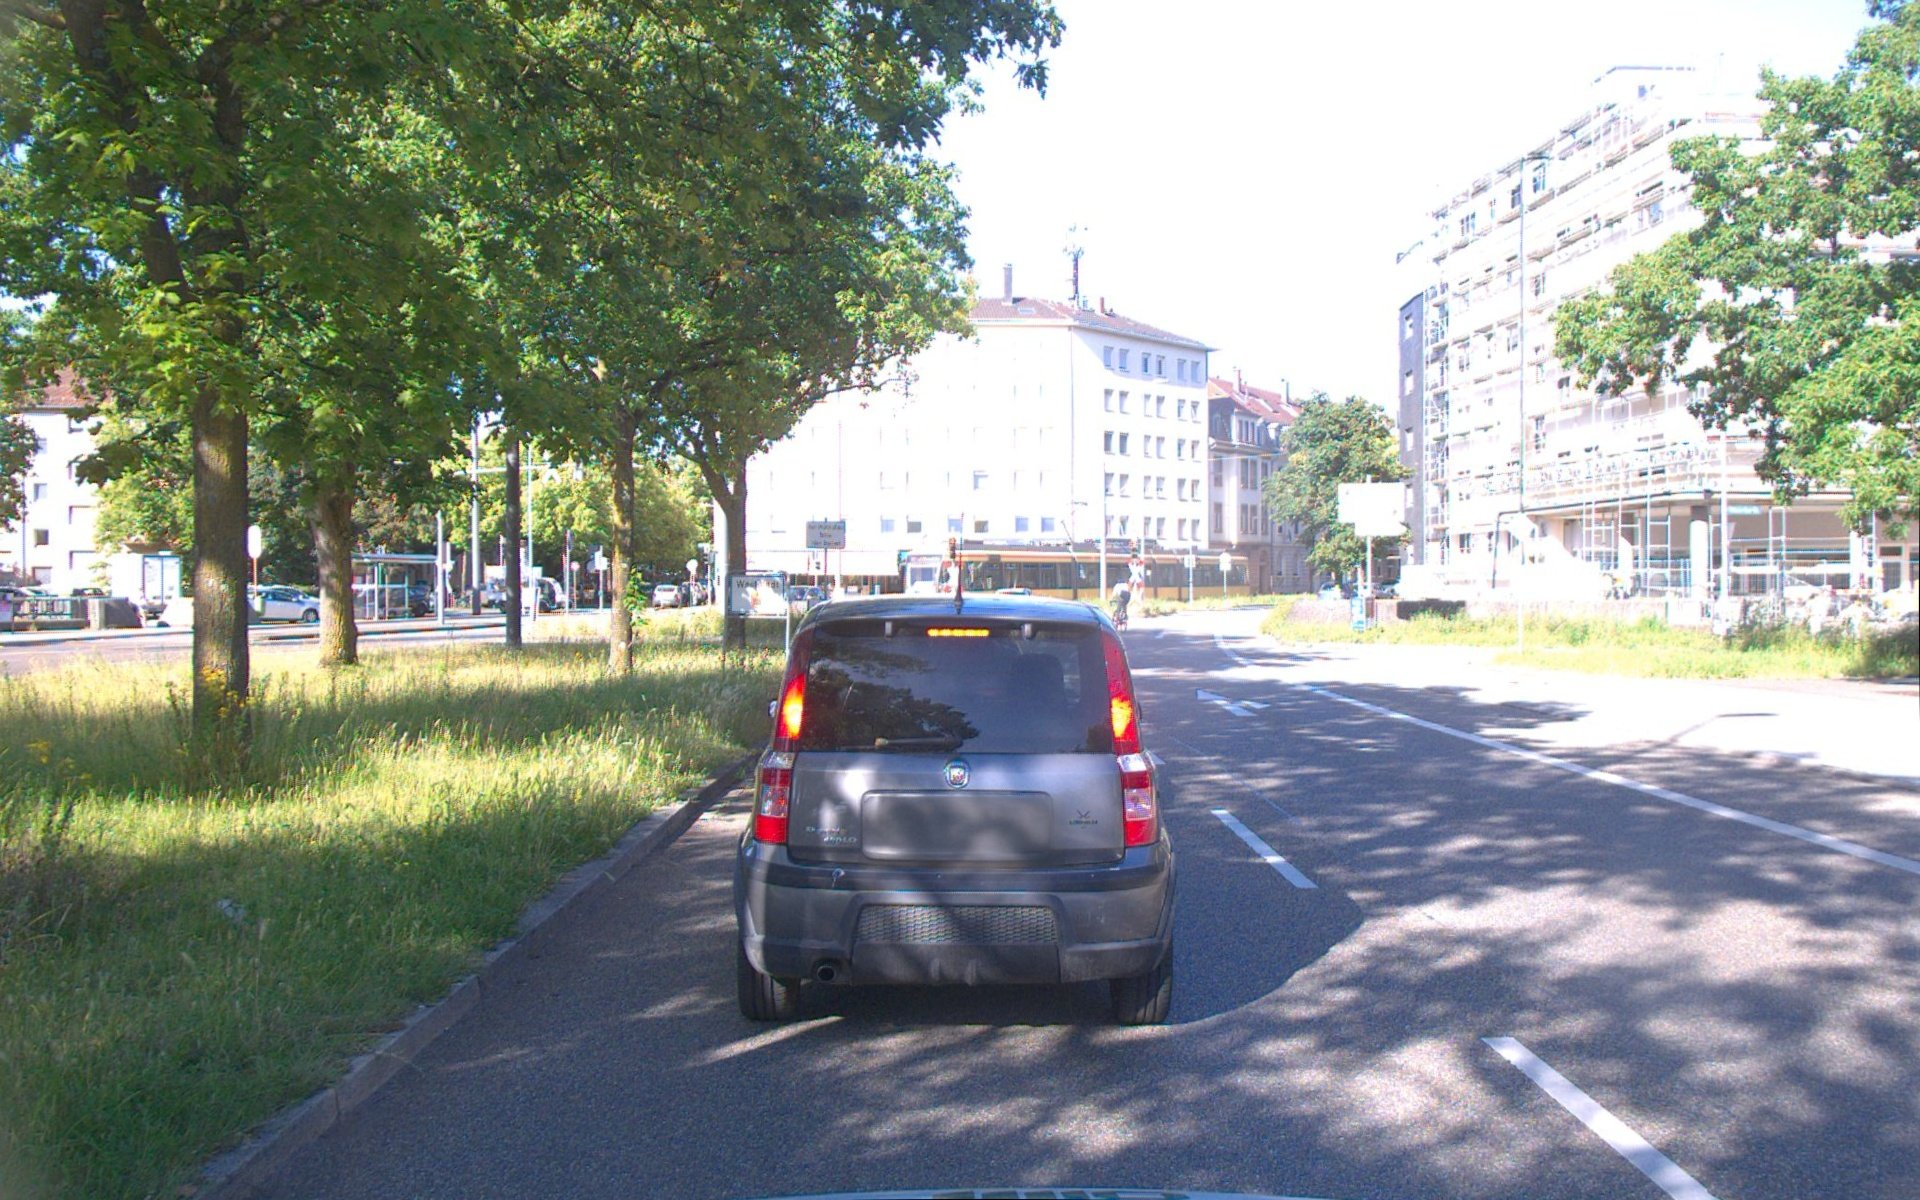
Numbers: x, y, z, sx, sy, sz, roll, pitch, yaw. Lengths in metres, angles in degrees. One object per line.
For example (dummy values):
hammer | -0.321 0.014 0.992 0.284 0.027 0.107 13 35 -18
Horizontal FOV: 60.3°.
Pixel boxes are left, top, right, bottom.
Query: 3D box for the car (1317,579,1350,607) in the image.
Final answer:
car | 20.511 -0.392 90.713 1.646 1.475 3.574 0 1 15

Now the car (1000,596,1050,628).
car | 2.286 0.402 57.705 1.118 1.083 2.723 0 1 17

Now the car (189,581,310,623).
car | -29.951 0.049 69.790 1.961 1.713 4.302 0 1 38

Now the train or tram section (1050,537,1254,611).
train or tram section | 11.540 -1.455 95.380 3.236 3.836 20.759 0 1 32

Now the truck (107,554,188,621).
truck | -35.740 -0.552 72.697 3.932 2.854 1.987 0 1 44

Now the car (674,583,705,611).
car | -20.144 -0.243 123.290 1.954 2.049 3.996 0 1 -5

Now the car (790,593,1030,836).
car | -0.322 0.681 11.631 1.434 1.425 3.393 0 1 -1

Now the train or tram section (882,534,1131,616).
train or tram section | 2.824 -1.194 80.711 3.235 3.574 19.344 0 1 30

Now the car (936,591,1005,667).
car | 0.176 0.556 33.864 1.328 1.475 3.265 0 0 -1

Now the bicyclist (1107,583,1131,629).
bicyclist | 5.186 0.193 53.975 0.726 1.463 0.845 1 0 3

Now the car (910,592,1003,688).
car | -0.082 0.609 27.249 1.434 1.449 3.381 0 1 -1

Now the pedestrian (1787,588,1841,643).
pedestrian | 23.076 0.403 44.688 0.877 1.472 0.962 0 0 -15

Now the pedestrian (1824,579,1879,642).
pedestrian | 24.146 0.277 44.800 0.875 1.682 0.982 0 0 -21

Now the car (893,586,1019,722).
car | -0.075 0.603 20.675 1.434 1.534 3.504 0 1 -1

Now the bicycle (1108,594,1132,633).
bicycle | 5.209 0.432 53.952 0.693 1.219 2.521 1 0 4

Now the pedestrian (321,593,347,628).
pedestrian | -29.248 0.478 77.262 0.904 1.636 0.794 0 0 38

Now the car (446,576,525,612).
car | -27.962 -0.358 97.560 4.093 2.049 1.930 0 0 -3

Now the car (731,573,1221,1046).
car | 0.027 0.660 7.415 1.595 1.534 3.999 0 1 -1

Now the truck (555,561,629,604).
truck | -28.348 -1.354 127.375 5.371 3.224 2.341 0 0 28

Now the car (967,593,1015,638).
car | 0.919 0.443 49.609 1.328 1.304 2.875 0 1 -1

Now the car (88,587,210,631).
car | -32.646 0.339 66.627 1.961 1.713 3.983 0 1 38

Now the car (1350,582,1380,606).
car | 23.121 -0.336 94.380 1.495 1.337 3.289 0 1 17
